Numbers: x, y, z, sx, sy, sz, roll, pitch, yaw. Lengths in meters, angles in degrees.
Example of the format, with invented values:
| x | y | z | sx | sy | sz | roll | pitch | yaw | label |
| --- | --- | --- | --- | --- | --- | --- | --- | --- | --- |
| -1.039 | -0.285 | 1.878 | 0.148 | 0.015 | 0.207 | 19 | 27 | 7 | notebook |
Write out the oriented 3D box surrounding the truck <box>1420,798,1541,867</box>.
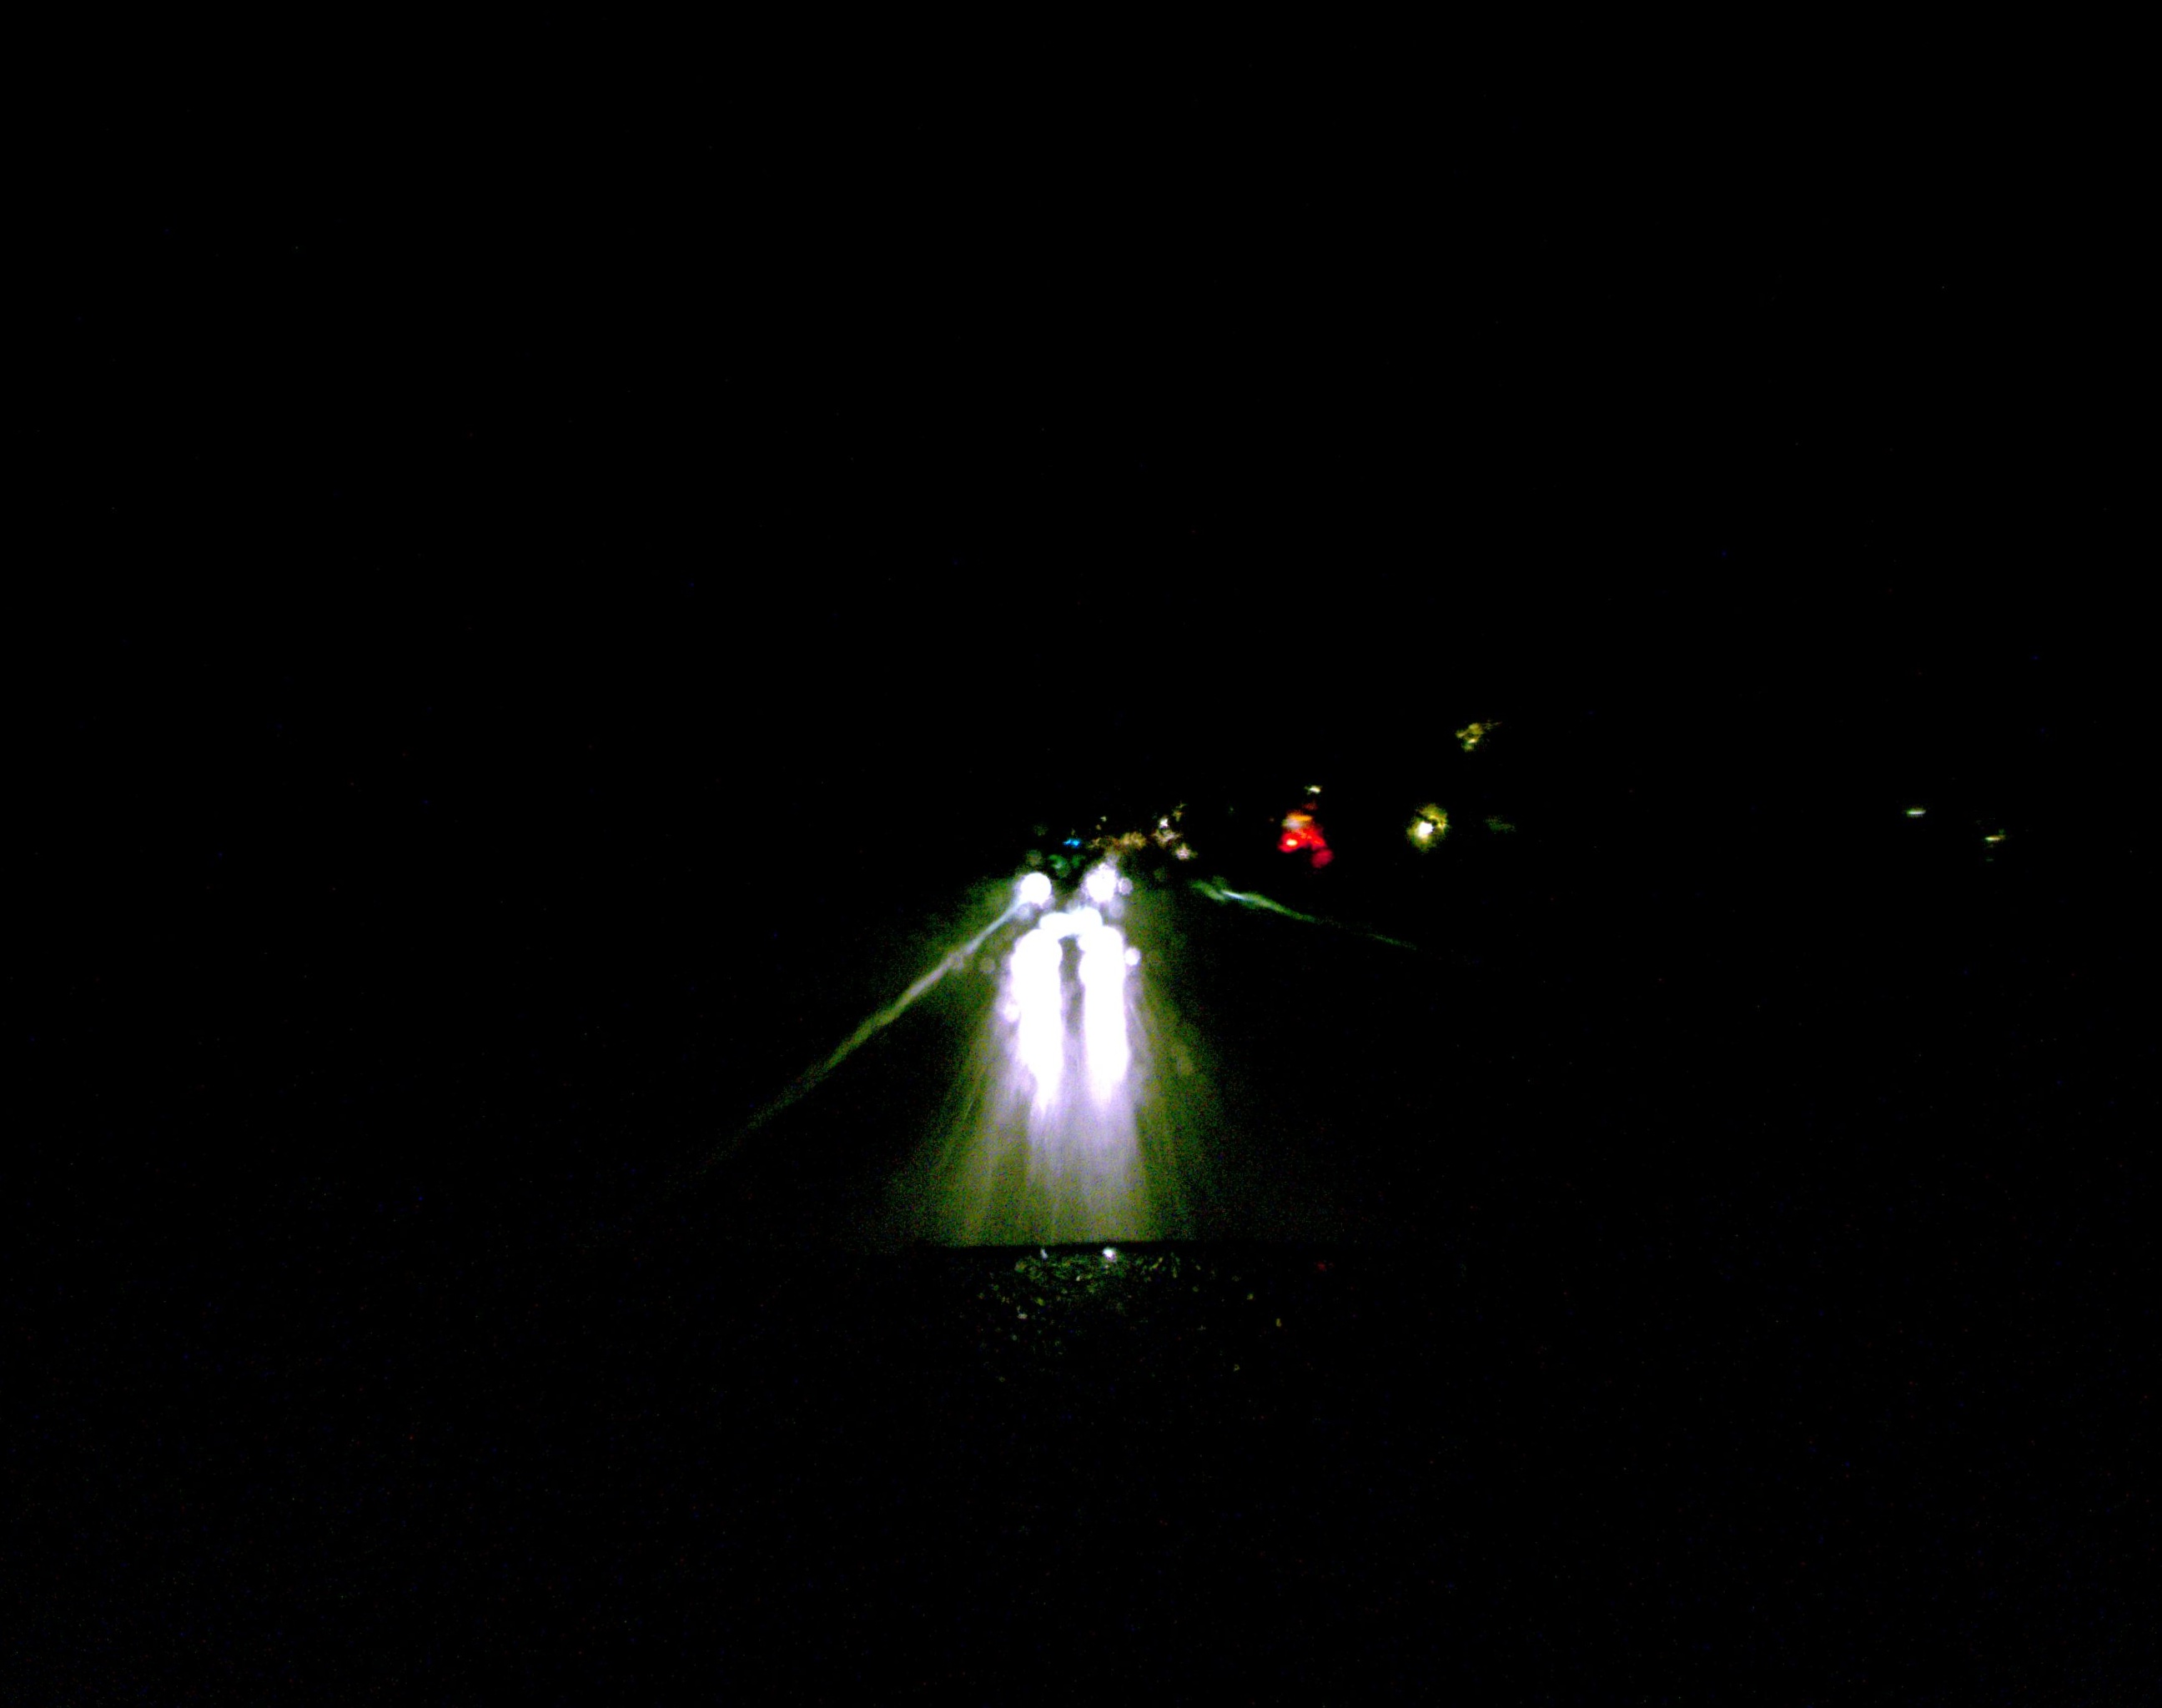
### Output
| x | y | z | sx | sy | sz | roll | pitch | yaw | label |
| --- | --- | --- | --- | --- | --- | --- | --- | --- | --- |
| 29.919 | -1.559 | 57.642 | 3.448 | 4.584 | 10.209 | -4 | 1 | -1 | truck |

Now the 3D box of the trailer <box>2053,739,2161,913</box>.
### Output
| x | y | z | sx | sy | sz | roll | pitch | yaw | label |
| --- | --- | --- | --- | --- | --- | --- | --- | --- | --- |
| 30.546 | -0.765 | 14.432 | 3.981 | 4.584 | 15.510 | -4 | 1 | -1 | trailer |

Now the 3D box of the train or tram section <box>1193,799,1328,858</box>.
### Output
| x | y | z | sx | sy | sz | roll | pitch | yaw | label |
| --- | --- | --- | --- | --- | --- | --- | --- | --- | --- |
| 14.710 | -2.036 | 69.278 | 2.703 | 3.793 | 37.133 | -4 | 1 | -1 | train or tram section |

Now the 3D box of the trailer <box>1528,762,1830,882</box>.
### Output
| x | y | z | sx | sy | sz | roll | pitch | yaw | label |
| --- | --- | --- | --- | --- | --- | --- | --- | --- | --- |
| 30.453 | -1.528 | 40.523 | 3.981 | 4.984 | 14.830 | -4 | 1 | -1 | trailer |

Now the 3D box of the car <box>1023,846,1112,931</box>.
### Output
| x | y | z | sx | sy | sz | roll | pitch | yaw | label |
| --- | --- | --- | --- | --- | --- | --- | --- | --- | --- |
| -0.314 | 0.735 | 18.256 | 1.791 | 1.684 | 4.218 | -4 | 0 | -1 | car |
